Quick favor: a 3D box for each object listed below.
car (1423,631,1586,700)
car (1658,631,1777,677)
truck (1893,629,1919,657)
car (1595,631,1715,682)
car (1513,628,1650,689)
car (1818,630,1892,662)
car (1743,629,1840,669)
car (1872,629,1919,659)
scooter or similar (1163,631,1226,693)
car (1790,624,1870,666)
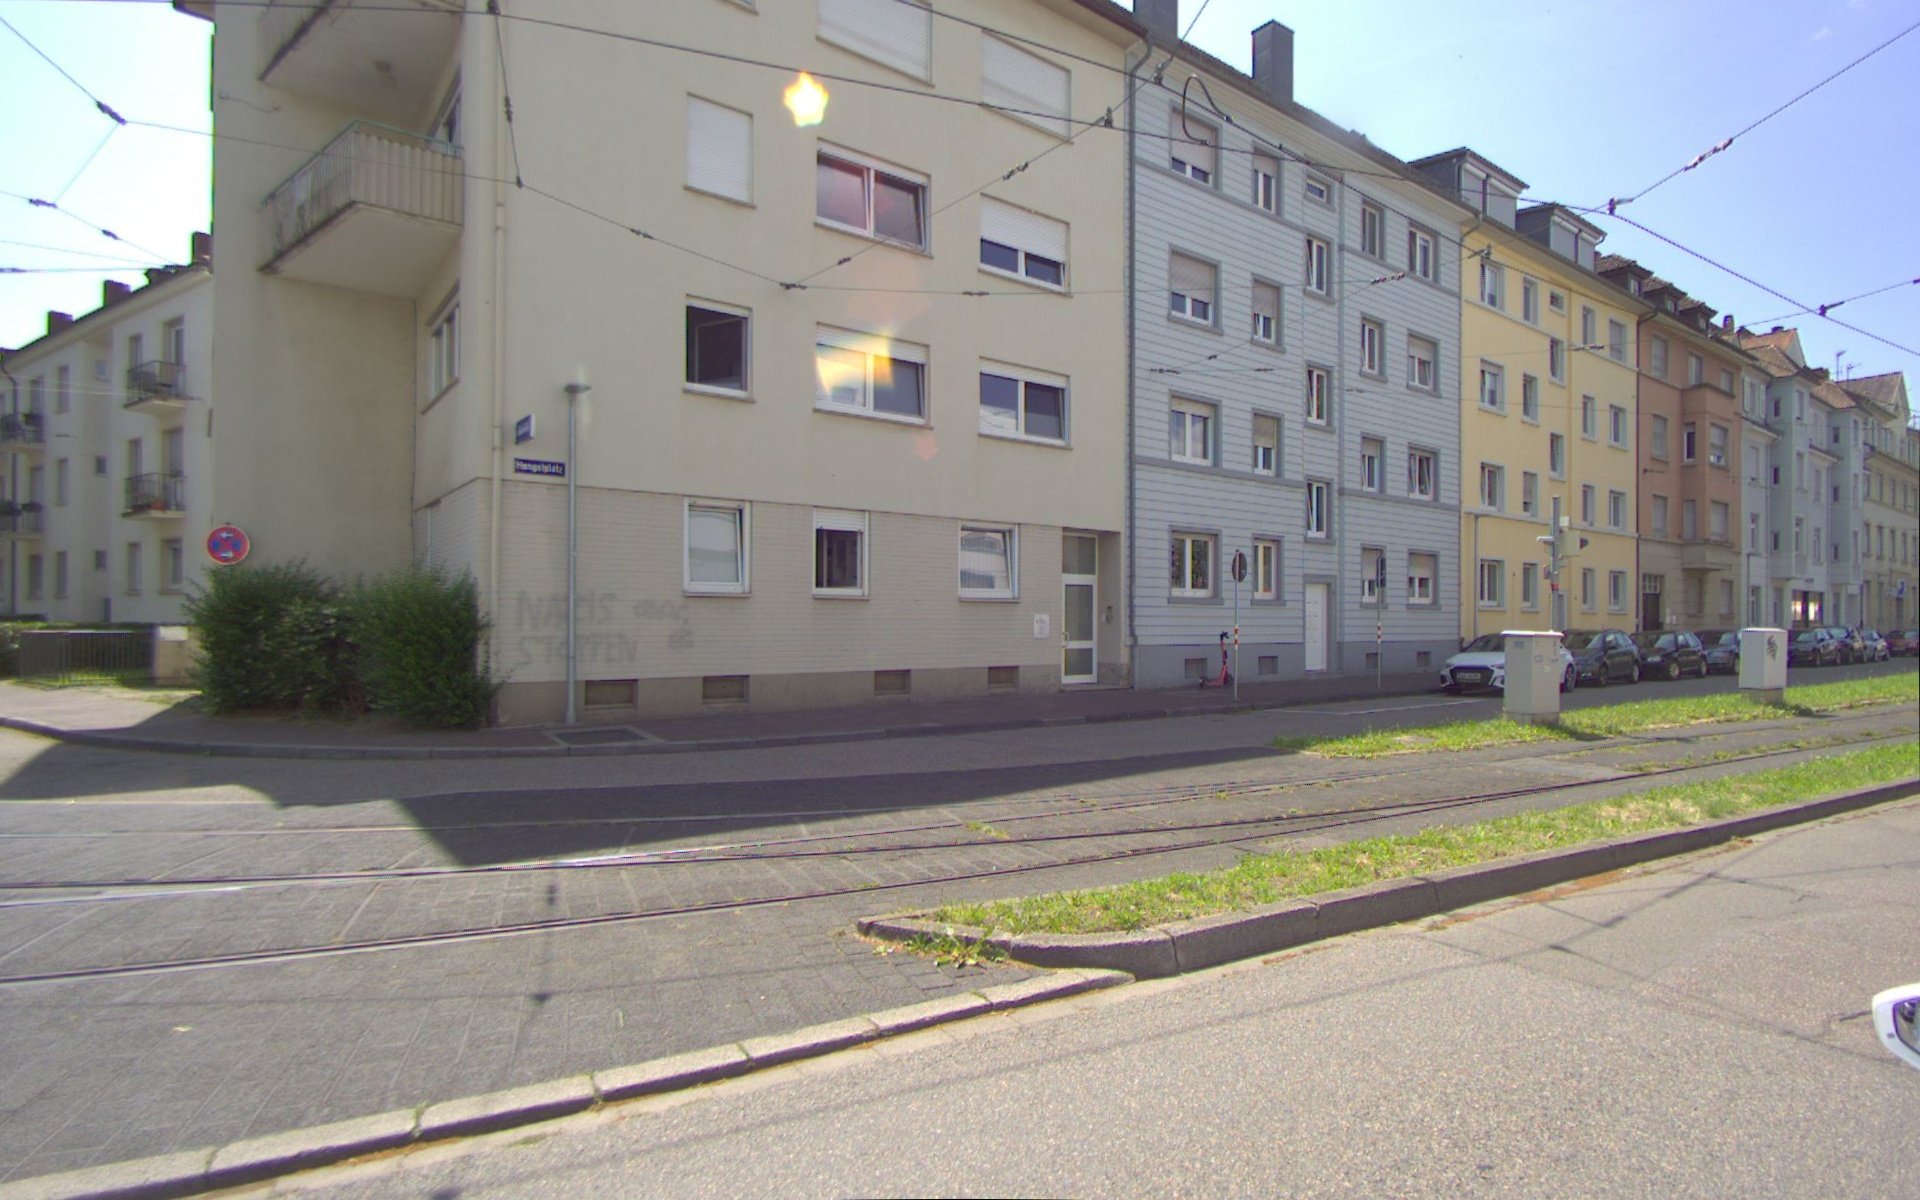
[{"bbox_3d":[12.932,1.490,23.763,4.340,1.470,1.912,1,-3,-40],"label":"car"},{"bbox_3d":[25.295,1.741,33.489,4.817,1.416,1.914,1,-2,-37],"label":"car"},{"bbox_3d":[52.271,2.328,55.179,2.572,1.514,1.117,1,-2,-39],"label":"truck"},{"bbox_3d":[20.895,1.643,30.156,4.104,1.418,1.817,1,-2,-37],"label":"car"},{"bbox_3d":[17.004,1.535,27.423,4.290,1.525,1.912,1,-2,-40],"label":"car"},{"bbox_3d":[40.901,2.082,45.861,4.212,1.374,1.794,1,-2,-38],"label":"car"},{"bbox_3d":[32.778,1.889,39.568,4.819,1.510,1.913,1,-2,-38],"label":"car"},{"bbox_3d":[48.987,2.267,52.342,3.593,1.470,1.560,1,-2,-38],"label":"car"},{"bbox_3d":[5.073,1.313,21.728,1.309,1.239,0.633,-1,2,-38],"label":"scooter or similar"},{"bbox_3d":[37.285,1.915,43.017,4.105,1.708,1.823,1,-2,-38],"label":"car"}]
